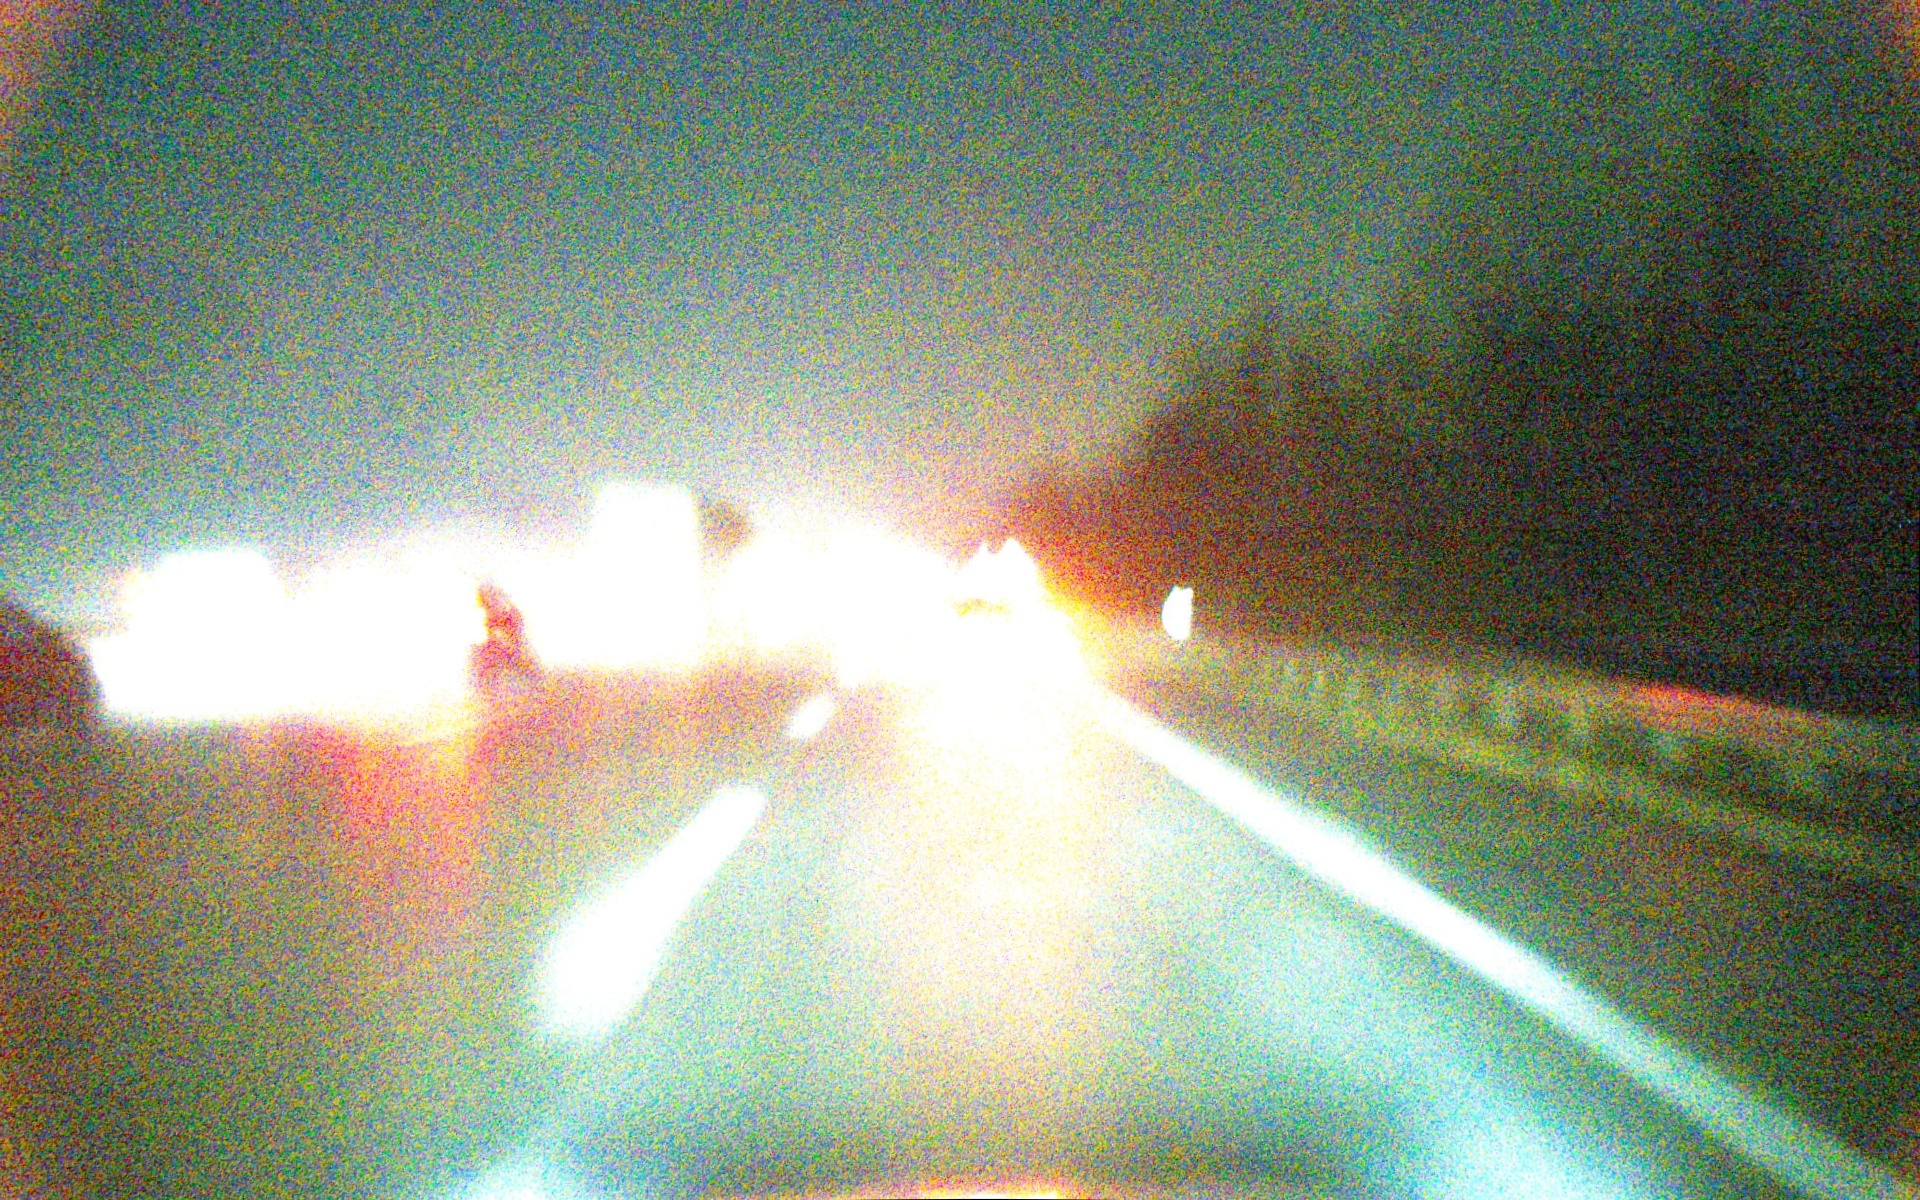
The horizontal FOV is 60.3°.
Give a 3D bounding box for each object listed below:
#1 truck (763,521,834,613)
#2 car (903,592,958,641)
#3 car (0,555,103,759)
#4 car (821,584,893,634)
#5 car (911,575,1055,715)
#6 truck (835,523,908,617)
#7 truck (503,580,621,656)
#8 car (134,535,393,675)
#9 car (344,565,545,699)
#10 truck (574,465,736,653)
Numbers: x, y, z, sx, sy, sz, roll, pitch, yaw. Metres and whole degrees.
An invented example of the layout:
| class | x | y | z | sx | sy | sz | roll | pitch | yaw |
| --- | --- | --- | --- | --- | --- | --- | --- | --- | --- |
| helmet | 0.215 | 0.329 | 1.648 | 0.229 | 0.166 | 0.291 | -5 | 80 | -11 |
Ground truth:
| class | x | y | z | sx | sy | sz | roll | pitch | yaw |
| --- | --- | --- | --- | --- | --- | --- | --- | --- | --- |
| truck | -10.309 | -2.045 | 106.772 | 4.171 | 5.539 | 10.874 | 1 | 0 | -5 |
| car | -1.098 | 0.580 | 61.662 | 1.953 | 1.733 | 4.457 | 1 | 0 | -1 |
| car | -8.973 | 0.471 | 13.916 | 1.731 | 1.718 | 3.996 | 1 | 1 | -5 |
| car | -4.439 | 0.387 | 72.140 | 2.775 | 2.049 | 5.509 | 1 | 0 | -1 |
| car | 0.285 | 0.584 | 23.553 | 1.839 | 1.793 | 4.000 | 1 | 0 | 0 |
| truck | -5.350 | -1.712 | 99.257 | 4.079 | 5.306 | 9.946 | 1 | 0 | -4 |
| truck | -12.697 | 0.541 | 53.190 | 2.802 | 2.239 | 5.852 | 1 | 0 | -5 |
| car | -11.767 | 0.058 | 28.468 | 2.080 | 2.141 | 5.629 | 1 | 0 | 0 |
| car | -7.581 | 0.432 | 24.784 | 1.999 | 1.792 | 4.510 | 1 | 0 | -6 |
| truck | -8.597 | -1.067 | 47.941 | 3.585 | 4.820 | 9.842 | 1 | 0 | -5 |
